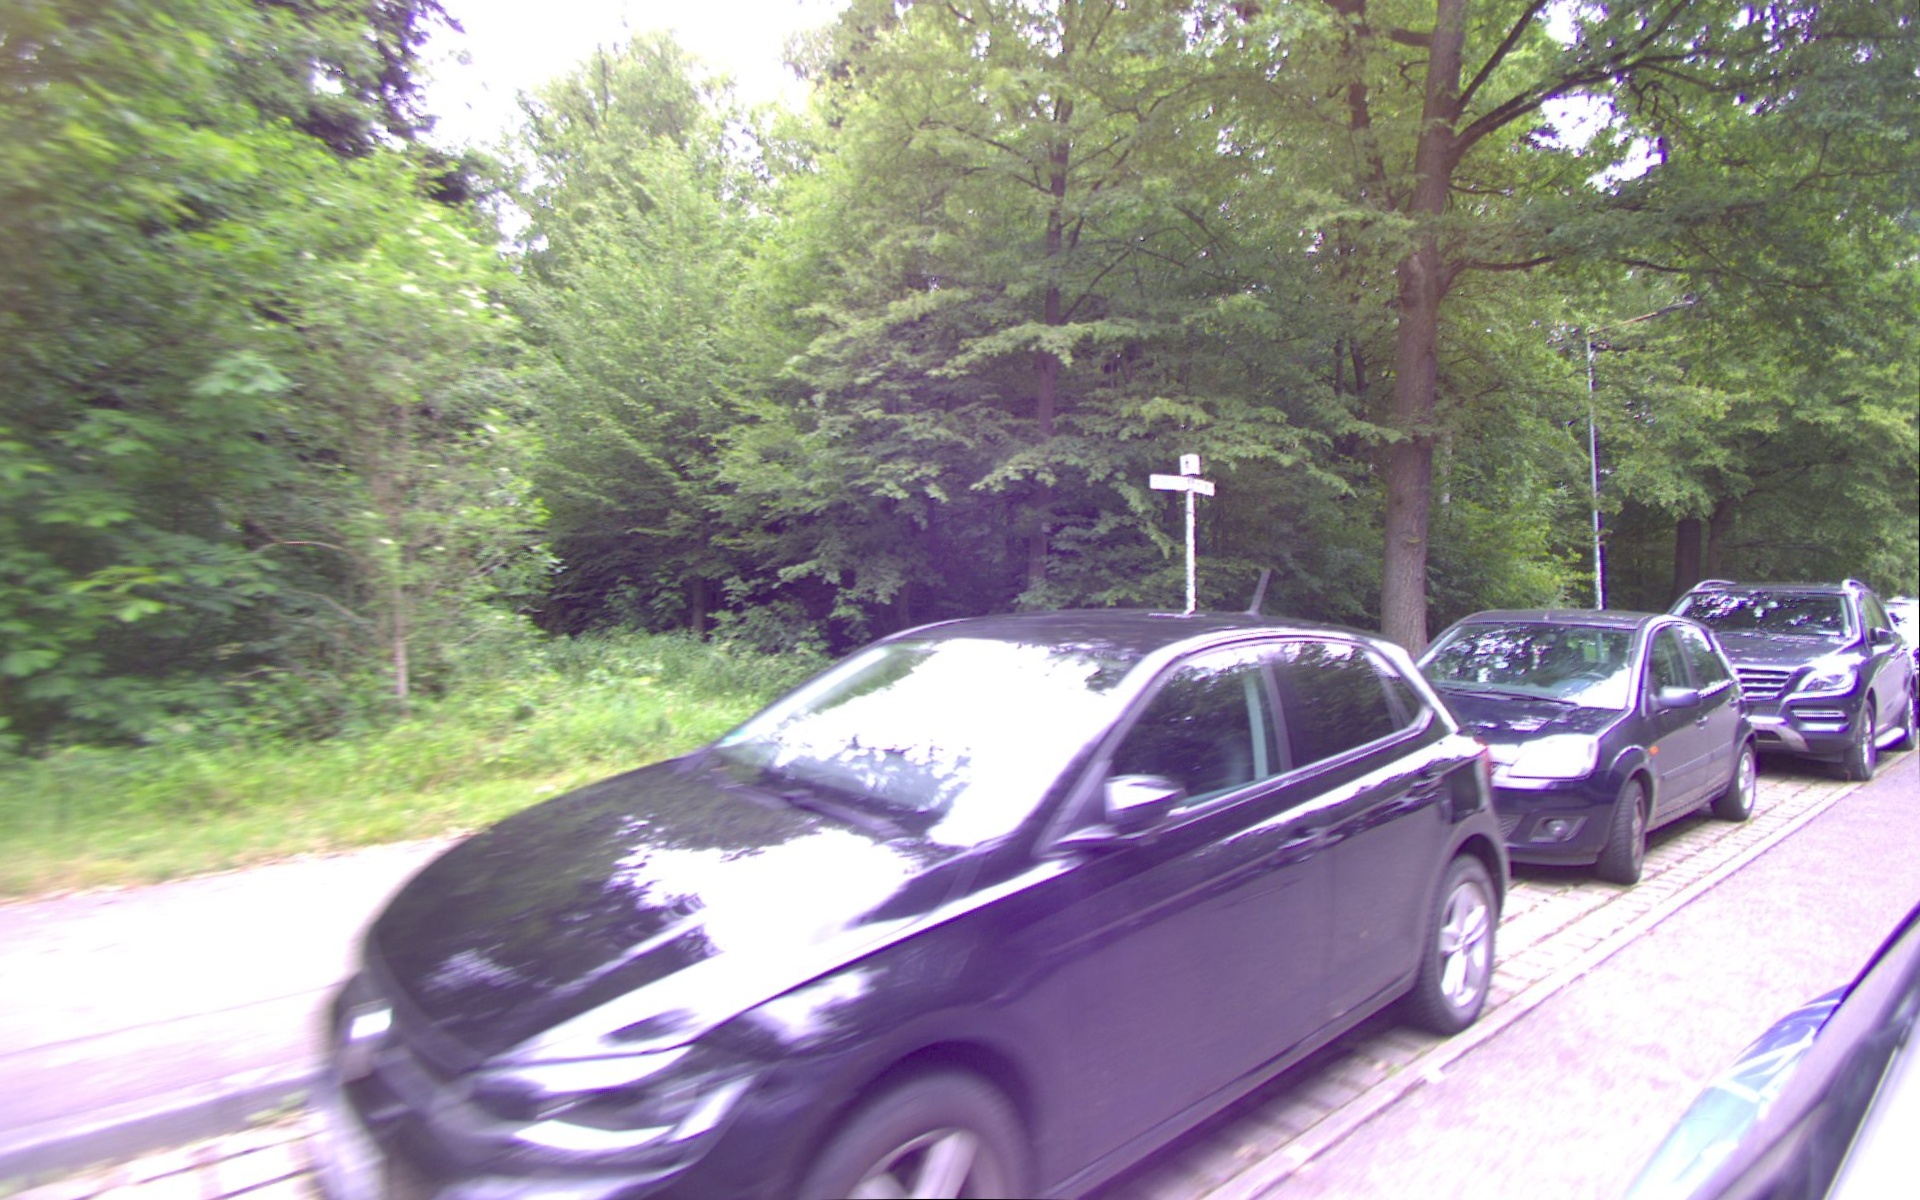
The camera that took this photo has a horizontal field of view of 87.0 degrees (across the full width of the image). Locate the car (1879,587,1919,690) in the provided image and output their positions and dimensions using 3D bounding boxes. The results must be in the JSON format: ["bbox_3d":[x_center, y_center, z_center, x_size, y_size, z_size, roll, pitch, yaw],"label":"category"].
[{"bbox_3d":[16.979,0.621,17.181,3.892,1.640,1.579,0,0,-41],"label":"car"}]

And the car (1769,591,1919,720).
[{"bbox_3d":[12.675,0.667,13.951,3.892,1.557,1.704,0,0,-41],"label":"car"}]

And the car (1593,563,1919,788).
[{"bbox_3d":[8.104,0.584,10.031,4.407,1.745,1.908,0,0,-41],"label":"car"}]

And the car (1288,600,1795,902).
[{"bbox_3d":[4.122,0.726,6.882,4.115,1.444,1.749,0,0,-41],"label":"car"}]

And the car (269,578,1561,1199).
[{"bbox_3d":[0.252,0.693,3.285,3.931,1.460,1.823,0,1,-42],"label":"car"}]
